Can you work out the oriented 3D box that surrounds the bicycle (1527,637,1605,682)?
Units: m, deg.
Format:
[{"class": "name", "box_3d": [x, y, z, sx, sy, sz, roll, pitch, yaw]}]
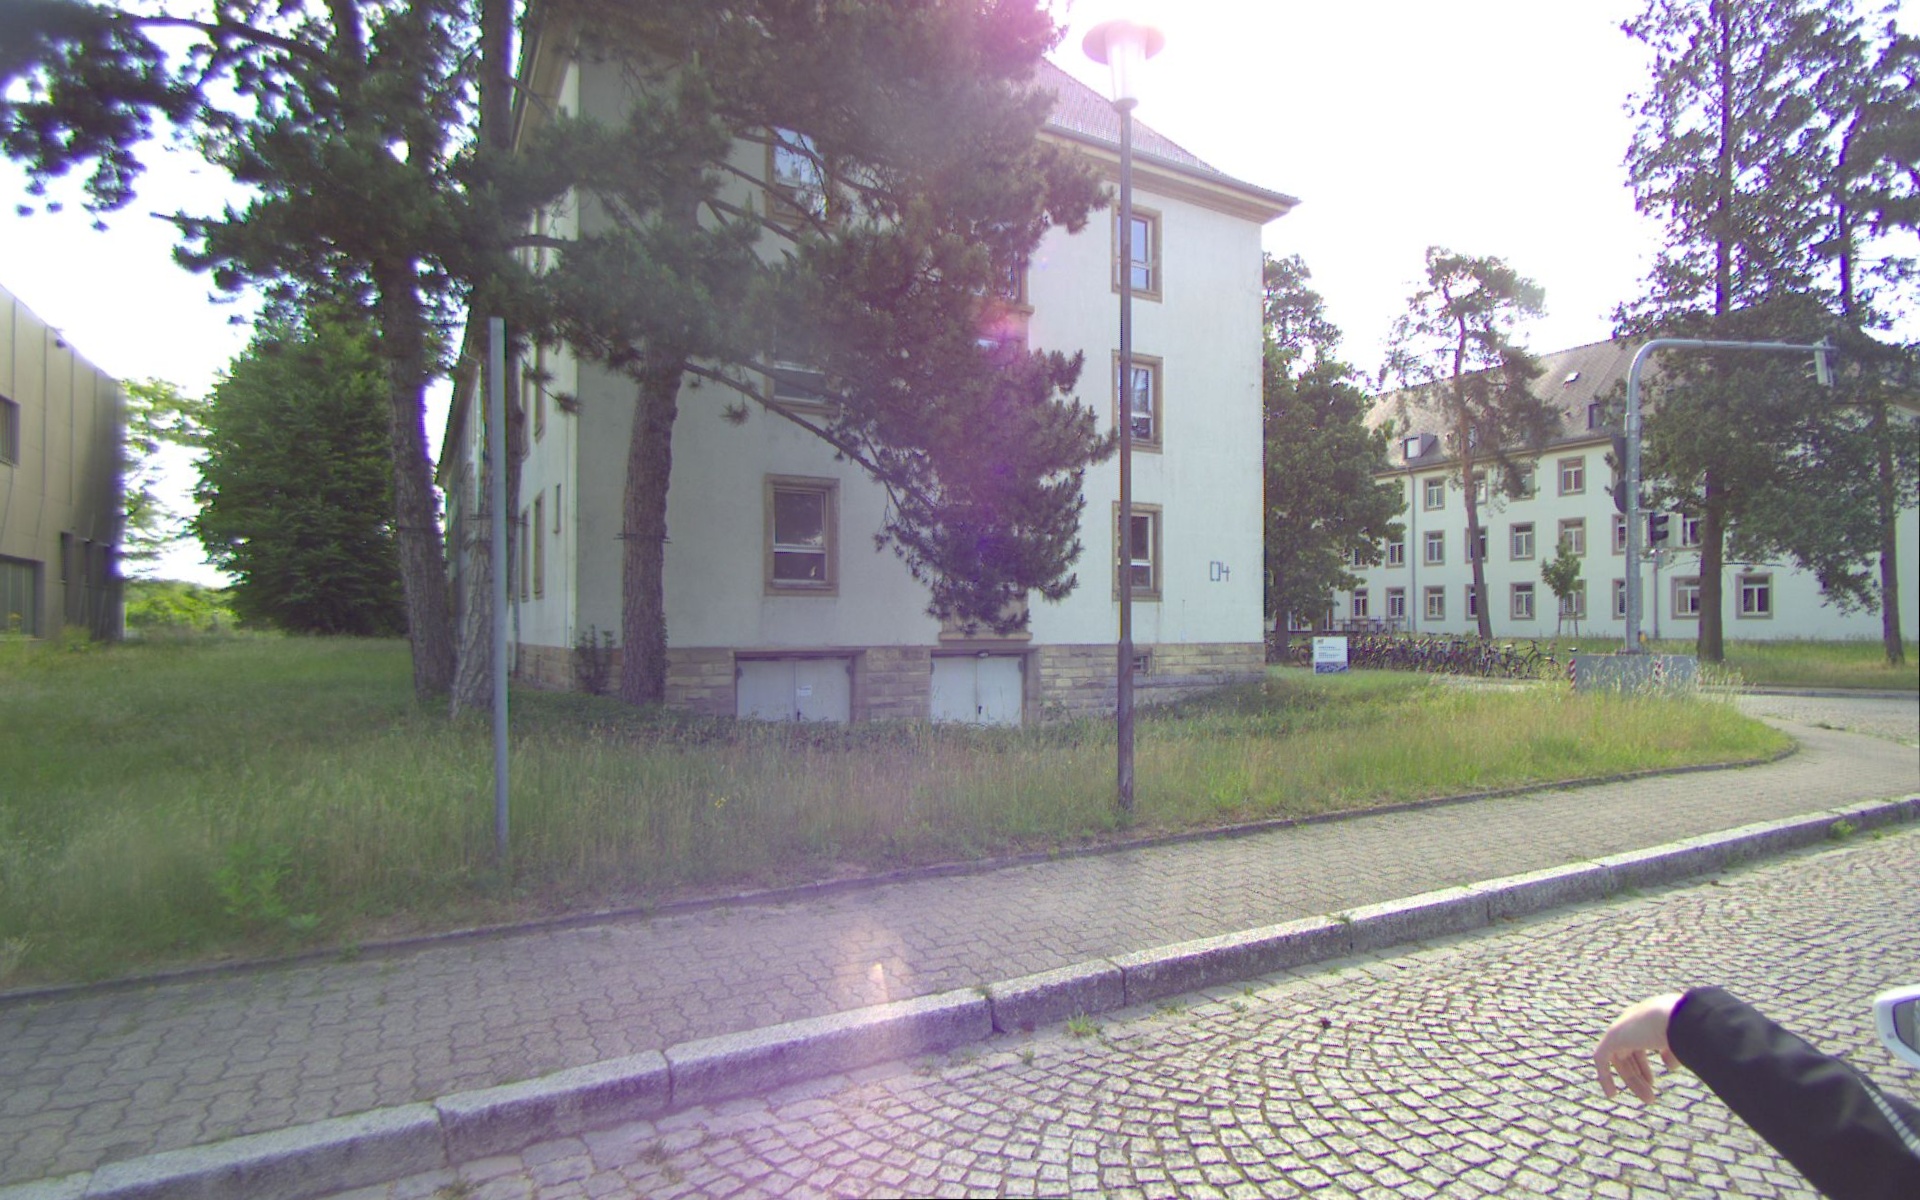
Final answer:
[{"class": "bicycle", "box_3d": [17.531, 1.696, 29.106, 0.627, 1.236, 1.853, 1, -2, -29]}]

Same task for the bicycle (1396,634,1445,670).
[{"class": "bicycle", "box_3d": [15.932, 1.786, 34.751, 1.954, 1.236, 0.512, 1, -2, -31]}]

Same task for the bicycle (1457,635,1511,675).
[{"class": "bicycle", "box_3d": [16.945, 1.772, 32.472, 1.966, 1.236, 0.569, 1, -2, -31]}]

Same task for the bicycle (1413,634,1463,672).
[{"class": "bicycle", "box_3d": [16.287, 1.784, 34.210, 1.992, 1.236, 0.512, 1, -2, -31]}]

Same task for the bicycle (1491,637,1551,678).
[{"class": "bicycle", "box_3d": [17.322, 1.760, 31.001, 2.099, 1.236, 0.630, 1, -2, -31]}]

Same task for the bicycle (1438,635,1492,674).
[{"class": "bicycle", "box_3d": [16.691, 1.779, 33.189, 2.005, 1.236, 0.576, 1, -2, -31]}]

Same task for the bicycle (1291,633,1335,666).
[{"class": "bicycle", "box_3d": [13.658, 1.893, 38.844, 1.914, 1.236, 0.512, 1, -2, -31]}]

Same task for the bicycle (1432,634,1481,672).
[{"class": "bicycle", "box_3d": [16.771, 1.785, 33.901, 1.877, 1.236, 0.545, 1, -2, -31]}]

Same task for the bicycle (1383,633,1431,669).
[{"class": "bicycle", "box_3d": [15.675, 1.785, 35.200, 1.954, 1.236, 0.512, 1, -2, -31]}]

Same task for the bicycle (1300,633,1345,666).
[{"class": "bicycle", "box_3d": [13.870, 1.891, 38.450, 1.914, 1.236, 0.512, 1, -2, -31]}]

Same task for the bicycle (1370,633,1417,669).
[{"class": "bicycle", "box_3d": [15.391, 1.784, 35.641, 1.931, 1.236, 0.512, 1, -2, -31]}]

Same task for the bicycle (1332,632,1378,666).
[{"class": "bicycle", "box_3d": [14.609, 1.792, 37.145, 1.914, 1.236, 0.512, 1, -2, -31]}]

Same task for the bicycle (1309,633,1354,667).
[{"class": "bicycle", "box_3d": [14.079, 1.889, 38.075, 1.914, 1.236, 0.512, 1, -2, -31]}]

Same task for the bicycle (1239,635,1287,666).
[{"class": "bicycle", "box_3d": [12.326, 2.055, 40.896, 1.792, 1.236, 0.516, 0, -1, 7]}]

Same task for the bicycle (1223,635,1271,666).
[{"class": "bicycle", "box_3d": [11.529, 2.041, 40.432, 1.792, 1.236, 0.516, 0, -1, 7]}]

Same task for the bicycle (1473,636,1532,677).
[{"class": "bicycle", "box_3d": [17.033, 1.763, 31.532, 2.080, 1.236, 0.630, 1, -2, -31]}]

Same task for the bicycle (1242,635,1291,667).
[{"class": "bicycle", "box_3d": [12.023, 1.995, 39.433, 1.794, 1.236, 0.515, -1, -2, 25]}]

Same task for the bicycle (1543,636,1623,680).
[{"class": "bicycle", "box_3d": [18.189, 1.684, 29.374, 0.627, 1.236, 1.936, 1, -2, -29]}]

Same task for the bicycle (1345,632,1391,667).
[{"class": "bicycle", "box_3d": [14.883, 1.789, 36.618, 1.914, 1.236, 0.512, 1, -2, -31]}]

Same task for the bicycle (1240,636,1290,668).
[{"class": "bicycle", "box_3d": [11.785, 1.993, 38.830, 1.794, 1.236, 0.515, -1, -2, 25]}]

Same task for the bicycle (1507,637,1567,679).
[{"class": "bicycle", "box_3d": [17.564, 1.757, 30.584, 2.089, 1.236, 0.630, 1, -2, -31]}]

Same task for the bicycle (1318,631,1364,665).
[{"class": "bicycle", "box_3d": [14.302, 1.795, 37.671, 1.914, 1.236, 0.512, 1, -2, -31]}]

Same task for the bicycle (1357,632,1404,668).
[{"class": "bicycle", "box_3d": [15.130, 1.786, 36.131, 1.914, 1.236, 0.512, 1, -2, -31]}]
